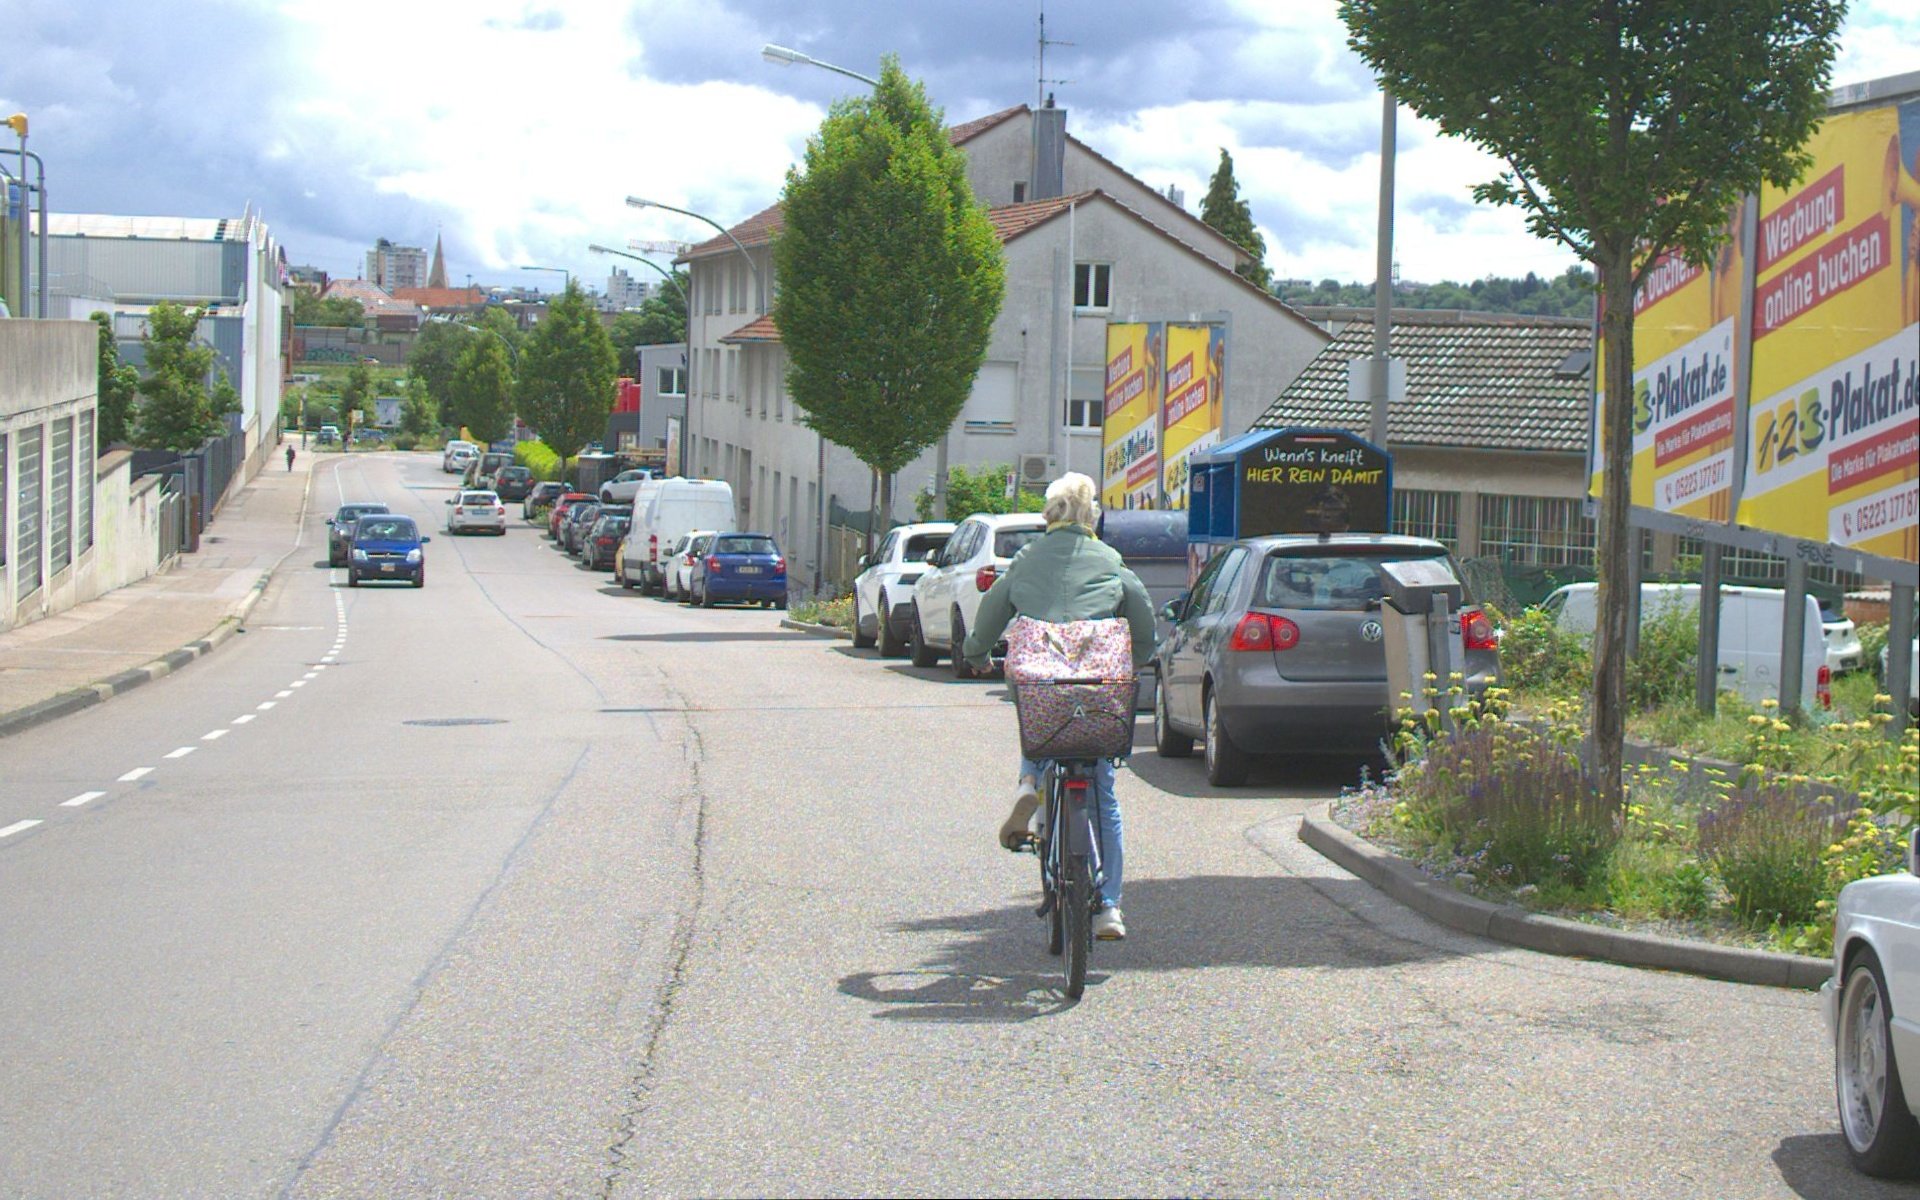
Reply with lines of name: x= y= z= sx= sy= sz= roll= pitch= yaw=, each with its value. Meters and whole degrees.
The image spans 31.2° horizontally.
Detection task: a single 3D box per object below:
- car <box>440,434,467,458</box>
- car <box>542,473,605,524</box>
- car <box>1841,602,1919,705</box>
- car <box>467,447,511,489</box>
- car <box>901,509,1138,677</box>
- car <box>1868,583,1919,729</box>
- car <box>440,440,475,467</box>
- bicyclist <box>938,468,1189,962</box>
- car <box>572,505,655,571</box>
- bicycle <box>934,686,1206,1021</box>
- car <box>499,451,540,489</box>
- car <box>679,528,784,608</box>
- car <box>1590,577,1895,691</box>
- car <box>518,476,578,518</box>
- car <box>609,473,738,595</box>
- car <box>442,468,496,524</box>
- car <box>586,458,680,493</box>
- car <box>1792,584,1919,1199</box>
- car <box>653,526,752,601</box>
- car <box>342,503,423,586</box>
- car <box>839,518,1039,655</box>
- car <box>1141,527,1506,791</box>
car: x=-32.894 y=-10.008 z=223.184 sx=1.701 sy=1.522 sz=3.739 roll=1 pitch=3 yaw=-9
car: x=-12.642 y=-3.325 z=112.323 sx=1.734 sy=1.467 sz=4.263 roll=1 pitch=3 yaw=-10
car: x=14.459 y=0.739 z=47.793 sx=4.036 sy=1.385 sz=1.522 roll=0 pitch=1 yaw=29
car: x=-23.197 y=-6.495 z=169.177 sx=1.868 sy=1.983 sz=5.146 roll=1 pitch=2 yaw=-11
car: x=0.553 y=-0.109 z=36.090 sx=1.685 sy=1.653 sz=4.481 roll=0 pitch=1 yaw=-9
car: x=12.985 y=0.684 z=44.821 sx=1.750 sy=1.679 sz=4.678 roll=0 pitch=2 yaw=9
car: x=-31.079 y=-9.058 z=212.532 sx=1.700 sy=1.522 sz=3.740 roll=4 pitch=2 yaw=-14
bicyclist: x=0.340 y=0.375 z=11.713 sx=0.739 sy=1.621 sz=0.732 roll=1 pitch=1 yaw=-5
car: x=-9.610 y=-1.733 z=95.034 sx=1.704 sy=1.504 sz=5.090 roll=3 pitch=3 yaw=-11
bicycle: x=0.340 y=0.822 z=11.705 sx=0.740 sy=0.972 sz=1.732 roll=1 pitch=1 yaw=-4
car: x=-19.828 y=-5.844 z=154.644 sx=1.679 sy=1.632 sz=4.124 roll=1 pitch=2 yaw=-9
car: x=-4.539 y=-0.646 z=67.980 sx=1.566 sy=1.505 sz=4.095 roll=1 pitch=1 yaw=-11
car: x=11.665 y=0.477 z=51.374 sx=4.040 sy=1.385 sz=1.740 roll=4 pitch=4 yaw=40
car: x=-15.406 y=-3.859 z=128.445 sx=1.790 sy=1.460 sz=4.710 roll=1 pitch=2 yaw=-12
car: x=-6.636 y=-1.517 z=78.940 sx=2.032 sy=2.632 sz=7.285 roll=1 pitch=1 yaw=-12
car: x=-16.232 y=-3.421 z=113.497 sx=1.566 sy=1.780 sz=3.607 roll=1 pitch=1 yaw=-11
car: x=-14.196 y=-5.395 z=149.087 sx=4.071 sy=1.457 sz=1.721 roll=1 pitch=5 yaw=41
car: x=2.919 y=0.717 z=6.544 sx=1.637 sy=1.382 sz=4.205 roll=1 pitch=1 yaw=0
car: x=-5.496 y=-0.791 z=72.941 sx=1.592 sy=1.505 sz=3.791 roll=1 pitch=1 yaw=-12
car: x=-13.086 y=-1.264 z=77.827 sx=1.626 sy=1.811 sz=3.781 roll=0 pitch=1 yaw=-12
car: x=-0.319 y=-0.200 z=41.933 sx=1.841 sy=1.560 sz=4.467 roll=-1 pitch=1 yaw=-8
car: x=2.171 y=0.294 z=21.508 sx=1.655 sy=1.480 sz=4.045 roll=-1 pitch=1 yaw=-3
